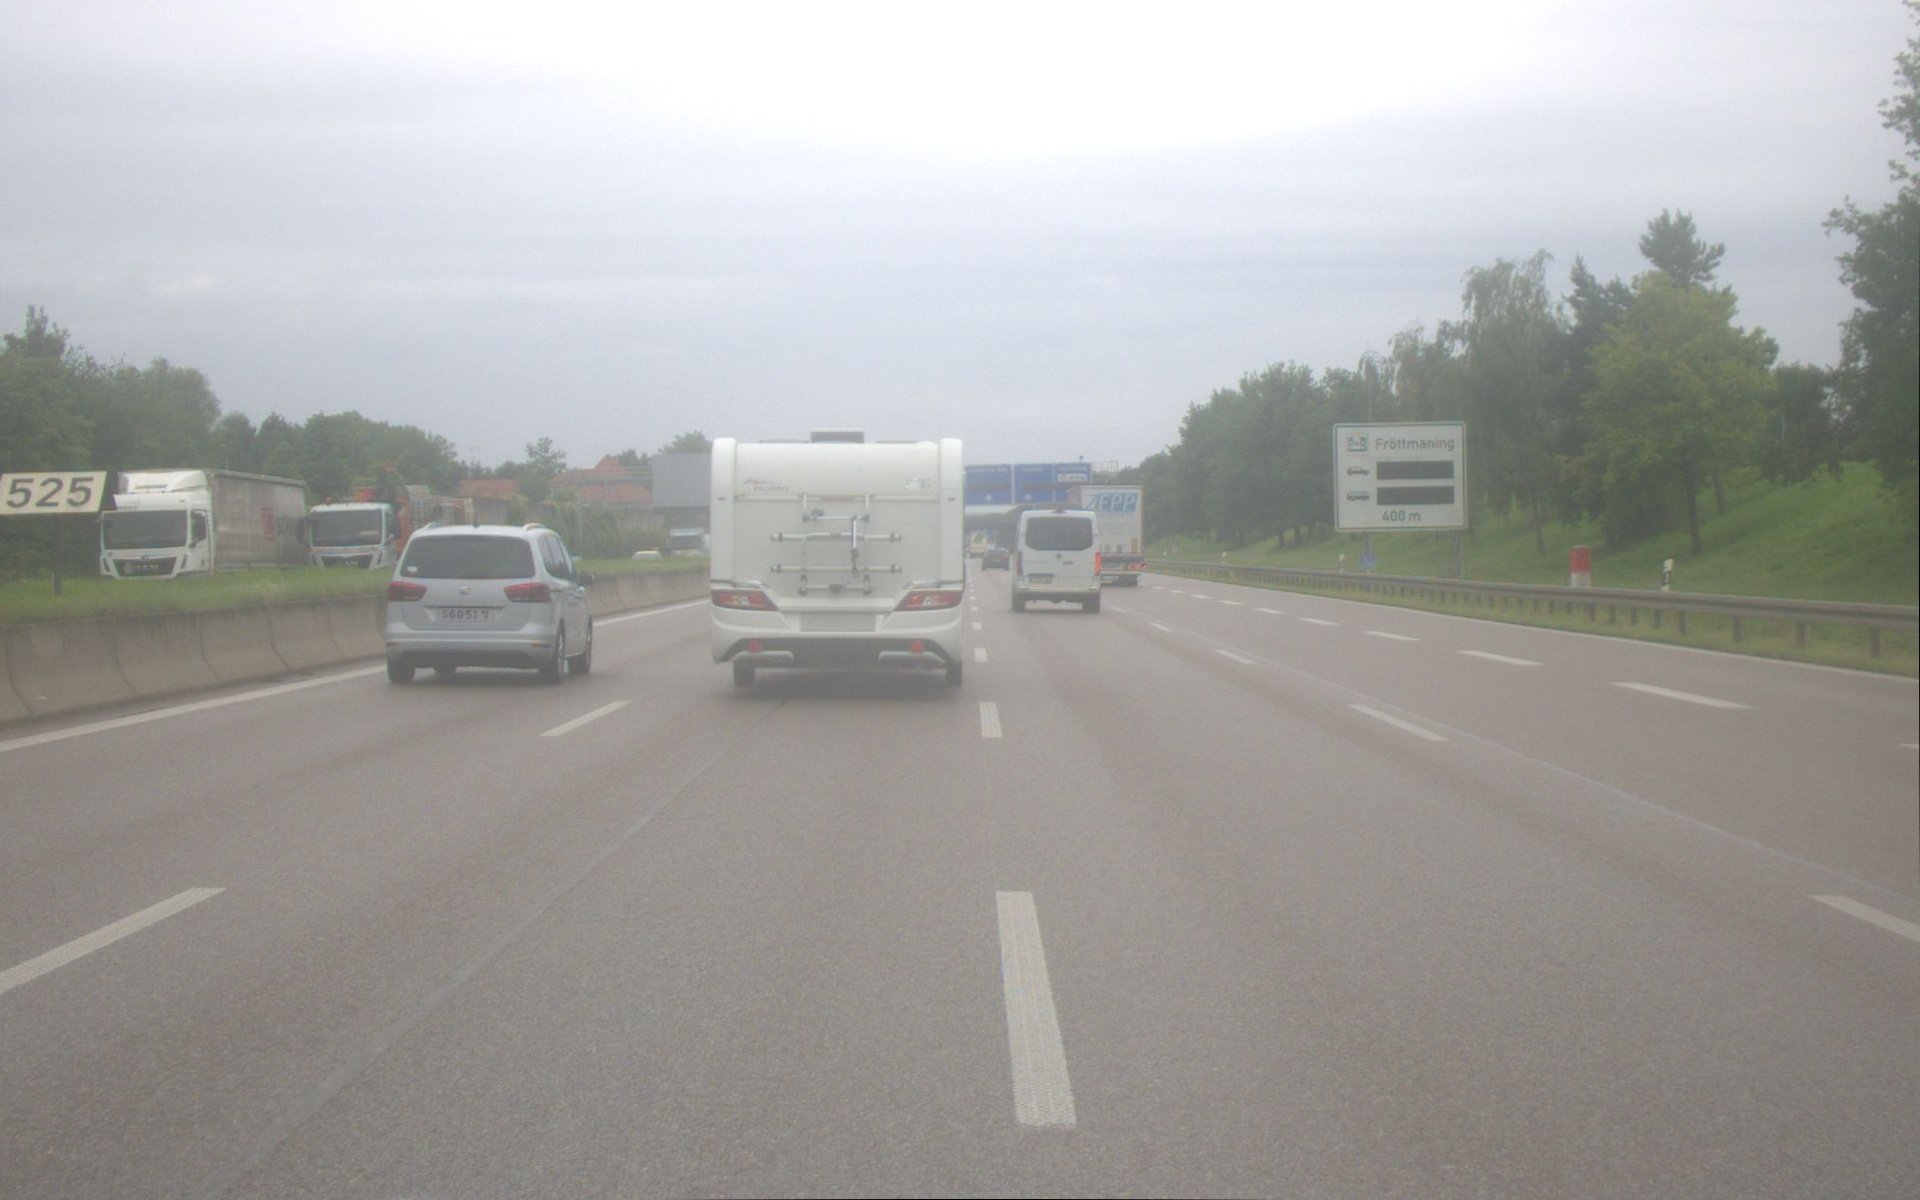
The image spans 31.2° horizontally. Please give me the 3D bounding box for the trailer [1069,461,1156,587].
[{"bbox_3d":[6.156,-3.026,140.337,3.100,4.905,11.790,1,1,1],"label":"trailer"}]

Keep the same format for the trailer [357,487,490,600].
[{"bbox_3d":[-17.180,-1.783,110.540,2.931,3.447,8.320,1,1,0],"label":"trailer"}]

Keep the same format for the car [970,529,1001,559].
[{"bbox_3d":[1.668,-3.736,228.719,1.993,2.007,4.000,0,1,-1],"label":"car"}]

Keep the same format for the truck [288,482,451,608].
[{"bbox_3d":[-17.157,-1.580,100.666,2.950,3.454,11.186,1,1,-1],"label":"truck"}]

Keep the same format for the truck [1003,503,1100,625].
[{"bbox_3d":[2.133,-0.852,81.455,2.053,2.760,5.549,1,1,-1],"label":"truck"}]

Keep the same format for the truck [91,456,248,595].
[{"bbox_3d":[-20.968,-1.945,91.547,2.666,3.539,6.761,1,1,-1],"label":"truck"}]

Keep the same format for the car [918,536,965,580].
[{"bbox_3d":[-0.748,-1.669,136.785,1.814,1.734,3.882,1,1,-1],"label":"car"}]

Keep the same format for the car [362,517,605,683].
[{"bbox_3d":[-5.164,-0.020,37.807,2.128,1.700,4.113,1,1,-1],"label":"car"}]

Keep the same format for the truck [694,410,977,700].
[{"bbox_3d":[-1.216,-0.454,35.301,2.661,2.733,5.078,1,1,-1],"label":"truck"}]
